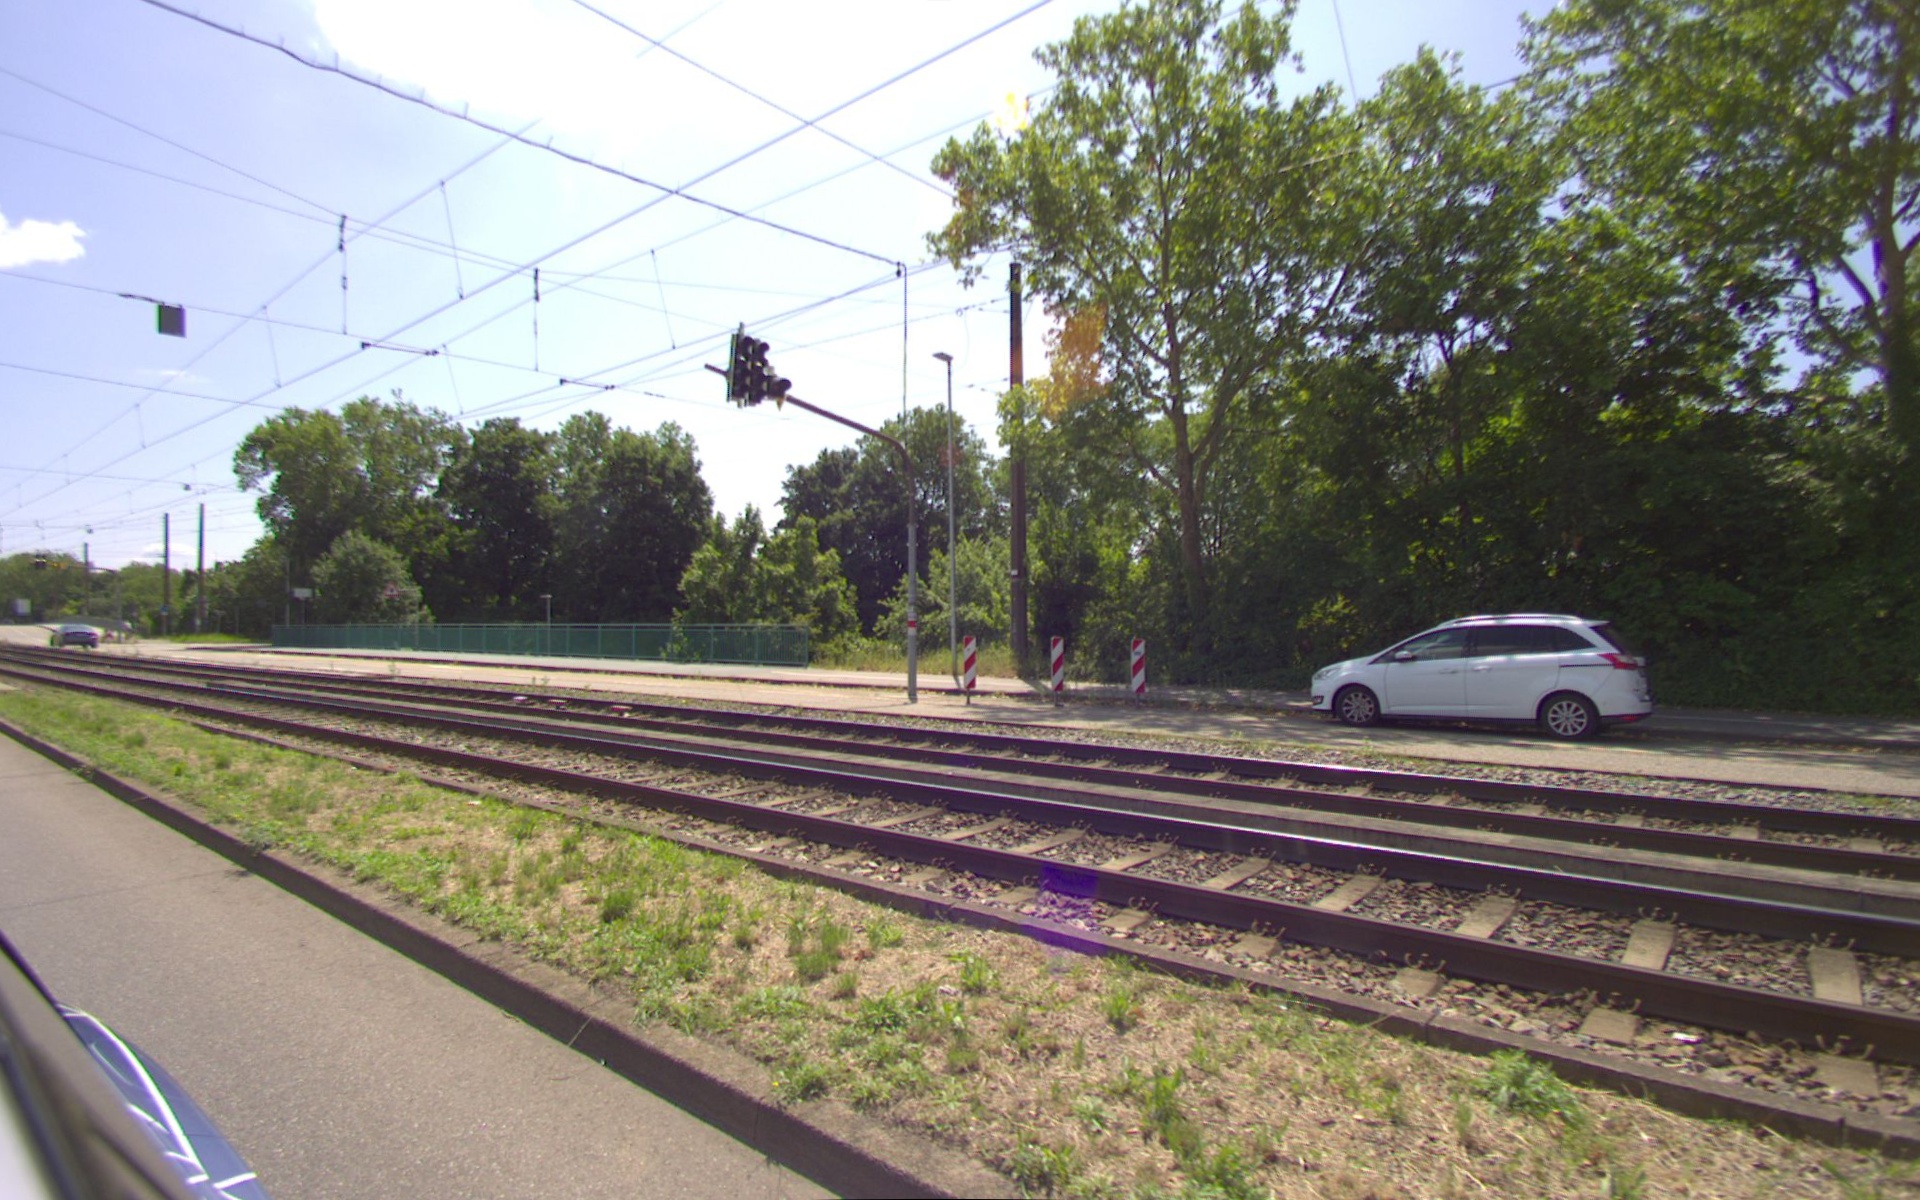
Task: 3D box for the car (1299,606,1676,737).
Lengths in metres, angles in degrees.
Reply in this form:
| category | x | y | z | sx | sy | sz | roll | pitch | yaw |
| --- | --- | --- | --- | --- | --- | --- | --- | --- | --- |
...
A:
| category | x | y | z | sx | sy | sz | roll | pitch | yaw |
| --- | --- | --- | --- | --- | --- | --- | --- | --- | --- |
| car | 7.559 | 1.051 | 14.830 | 4.612 | 1.643 | 1.702 | -3 | -6 | 40 |

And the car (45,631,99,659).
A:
| category | x | y | z | sx | sy | sz | roll | pitch | yaw |
| --- | --- | --- | --- | --- | --- | --- | --- | --- | --- |
| car | -57.145 | 2.863 | 65.104 | 5.327 | 1.733 | 1.856 | -1 | -1 | 41 |

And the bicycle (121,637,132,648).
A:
| category | x | y | z | sx | sy | sz | roll | pitch | yaw |
| --- | --- | --- | --- | --- | --- | --- | --- | --- | --- |
| bicycle | -69.743 | 3.526 | 84.663 | 1.743 | 0.875 | 0.463 | -1 | -1 | 44 |

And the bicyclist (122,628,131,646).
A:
| category | x | y | z | sx | sy | sz | roll | pitch | yaw |
| --- | --- | --- | --- | --- | --- | --- | --- | --- | --- |
| bicyclist | -69.607 | 3.094 | 84.519 | 0.633 | 1.485 | 0.451 | -1 | -1 | 44 |

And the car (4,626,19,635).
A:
| category | x | y | z | sx | sy | sz | roll | pitch | yaw |
| --- | --- | --- | --- | --- | --- | --- | --- | --- | --- |
| car | -162.077 | 5.237 | 172.961 | 1.685 | 1.522 | 3.735 | 2 | -3 | -44 |
